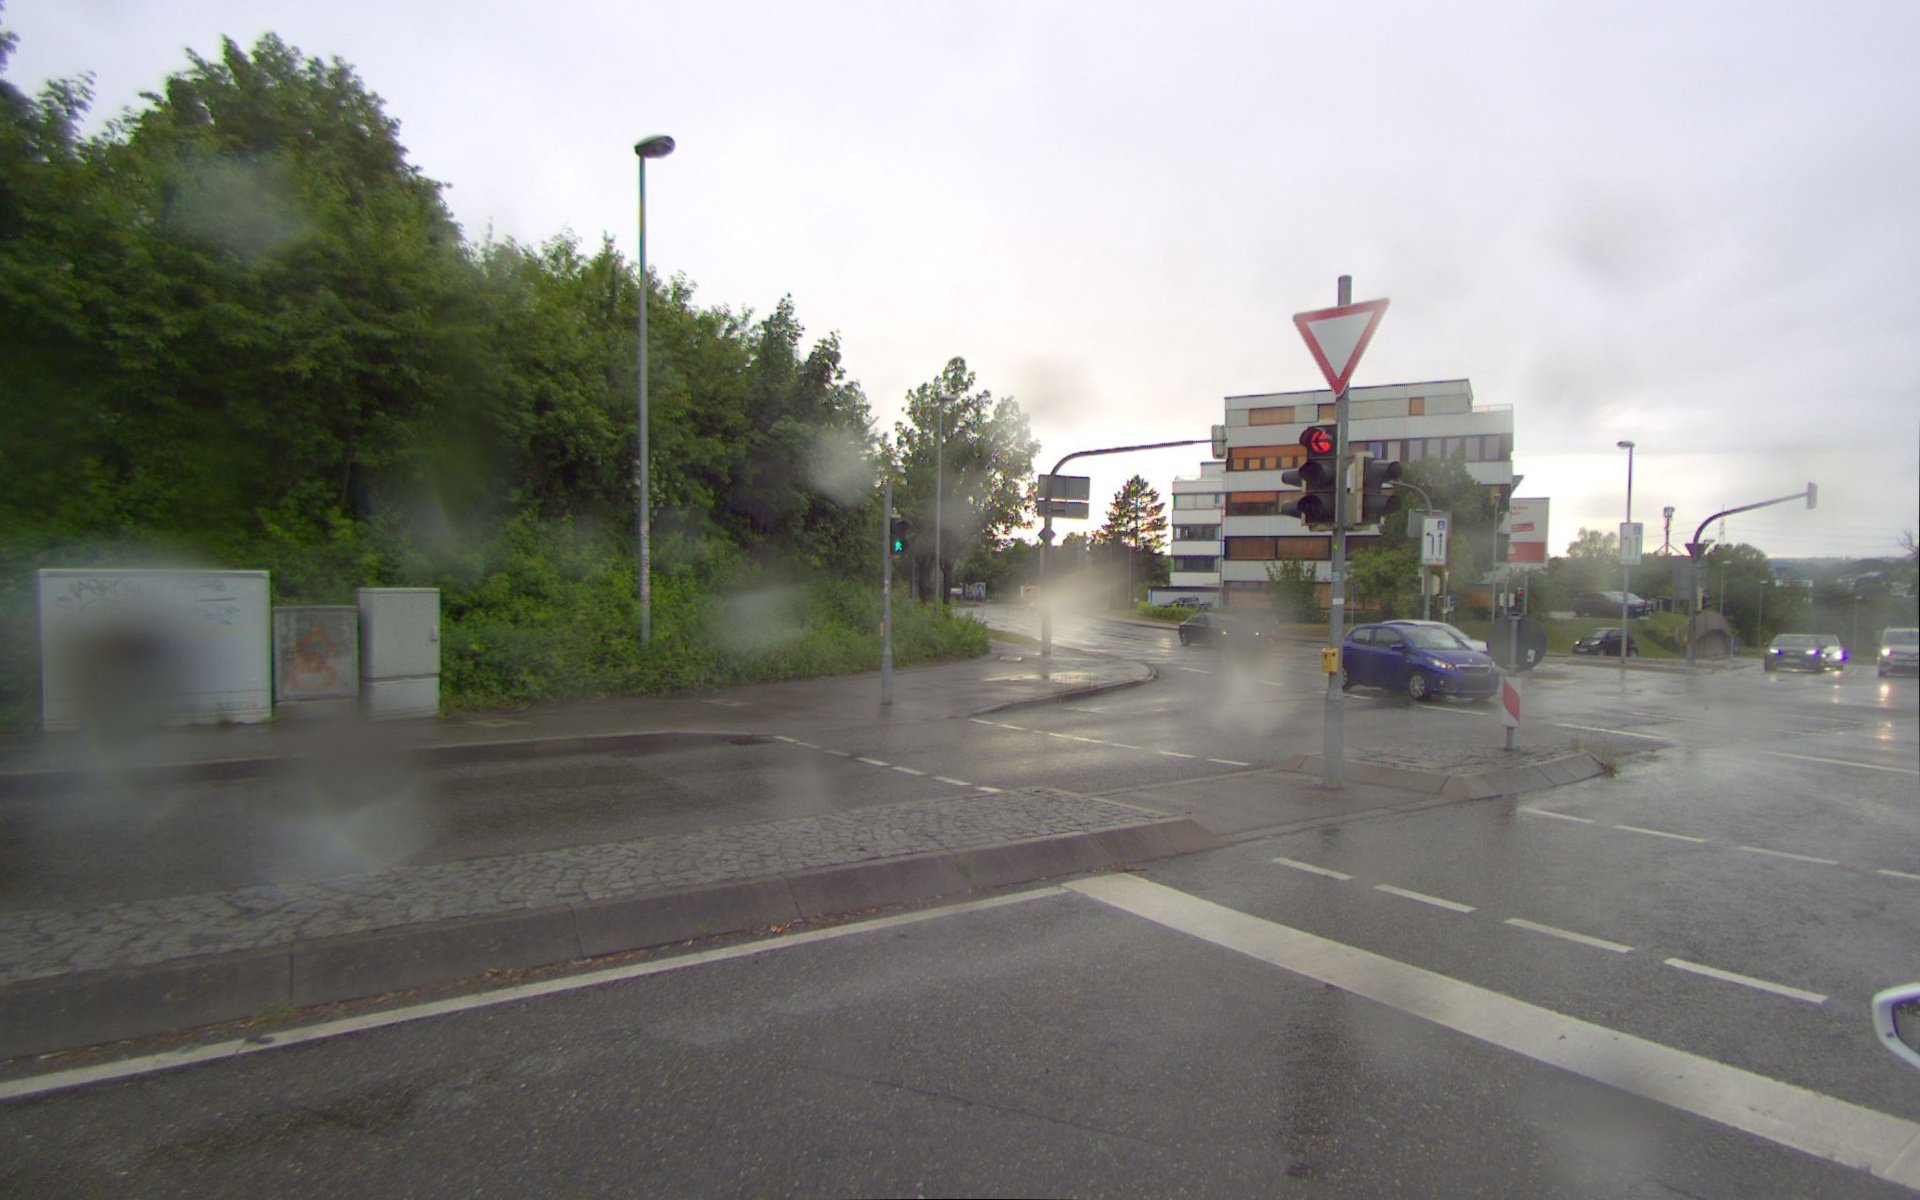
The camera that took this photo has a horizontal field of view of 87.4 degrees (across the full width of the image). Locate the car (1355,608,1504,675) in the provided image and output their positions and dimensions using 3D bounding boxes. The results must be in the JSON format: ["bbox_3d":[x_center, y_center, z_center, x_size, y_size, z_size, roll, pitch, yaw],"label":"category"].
[{"bbox_3d":[13.274,1.134,28.657,1.790,1.665,3.990,1,1,-12],"label":"car"}]

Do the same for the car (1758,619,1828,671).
[{"bbox_3d":[33.663,1.761,40.564,1.971,1.920,3.978,2,1,42],"label":"car"}]

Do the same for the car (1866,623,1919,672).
[{"bbox_3d":[34.885,1.717,36.950,3.972,1.639,1.974,1,1,-43],"label":"car"}]

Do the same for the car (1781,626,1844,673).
[{"bbox_3d":[38.789,2.187,45.669,1.972,1.920,3.977,2,1,43],"label":"car"}]

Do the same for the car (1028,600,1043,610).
[{"bbox_3d":[9.226,0.566,122.359,1.784,1.120,3.517,1,1,4],"label":"car"}]

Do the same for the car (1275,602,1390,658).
[{"bbox_3d":[13.701,1.053,37.220,1.966,1.865,4.143,1,1,-14],"label":"car"}]

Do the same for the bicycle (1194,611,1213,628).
[{"bbox_3d":[16.317,1.283,67.301,0.598,1.066,1.777,1,1,-8],"label":"bicycle"}]

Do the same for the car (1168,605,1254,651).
[{"bbox_3d":[10.280,1.103,41.422,1.964,1.706,3.992,1,1,-10],"label":"car"}]

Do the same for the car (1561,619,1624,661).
[{"bbox_3d":[31.956,1.969,50.692,1.972,1.920,3.977,2,1,43],"label":"car"}]

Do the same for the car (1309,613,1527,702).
[{"bbox_3d":[9.141,1.092,20.443,1.816,1.534,3.984,1,0,-18],"label":"car"}]

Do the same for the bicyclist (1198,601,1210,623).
[{"bbox_3d":[16.338,0.800,67.266,0.592,1.465,0.544,1,1,-8],"label":"bicyclist"}]
